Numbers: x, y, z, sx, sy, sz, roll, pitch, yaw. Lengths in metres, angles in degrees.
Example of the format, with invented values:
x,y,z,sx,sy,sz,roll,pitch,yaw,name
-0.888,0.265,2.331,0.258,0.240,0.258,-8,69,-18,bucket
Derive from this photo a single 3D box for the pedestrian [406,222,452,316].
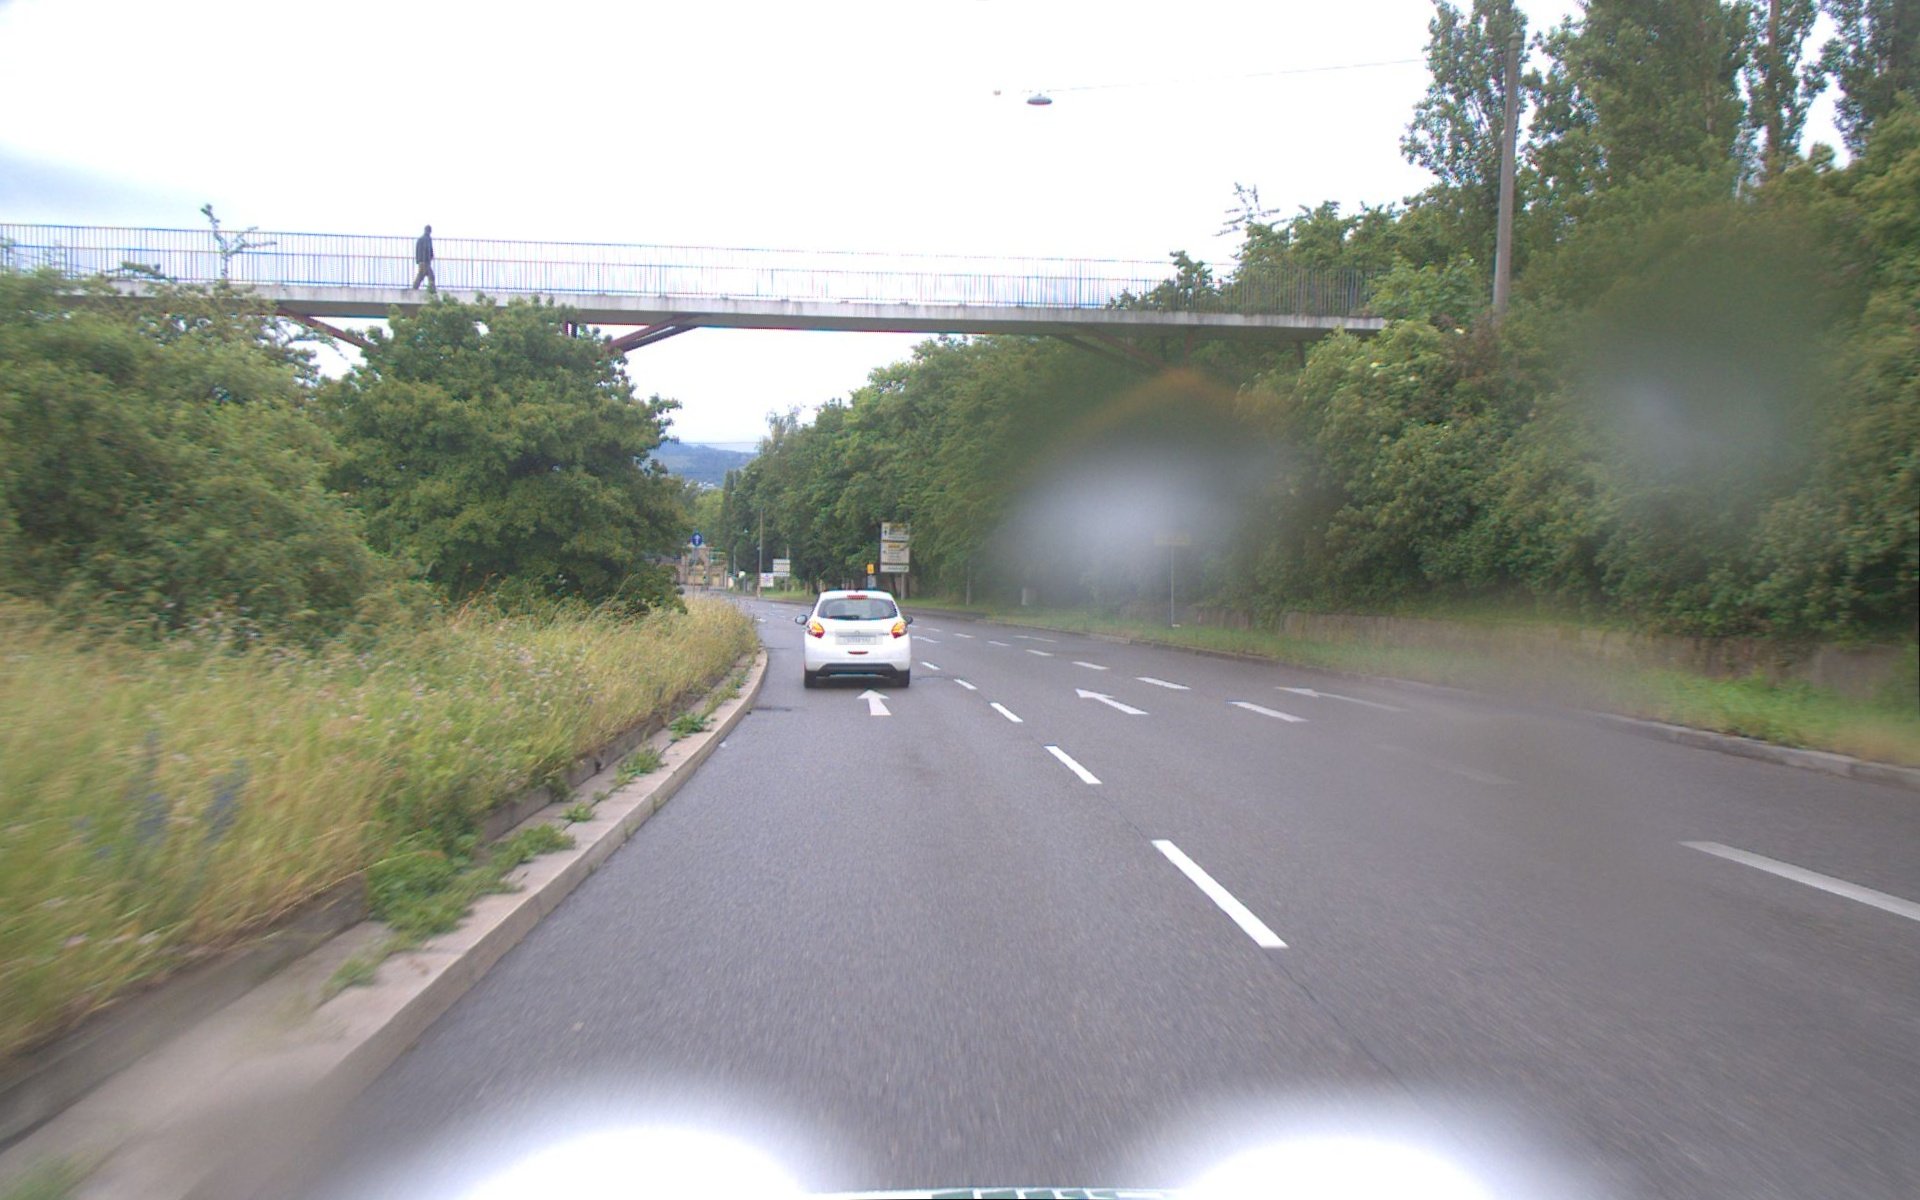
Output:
x,y,z,sx,sy,sz,roll,pitch,yaw,name
-13.063,-8.136,40.702,0.897,2.181,0.730,-2,0,-9,pedestrian

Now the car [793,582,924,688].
x,y,z,sx,sy,sz,roll,pitch,yaw,name
-1.716,0.508,26.786,1.833,1.537,3.894,1,1,-7,car
